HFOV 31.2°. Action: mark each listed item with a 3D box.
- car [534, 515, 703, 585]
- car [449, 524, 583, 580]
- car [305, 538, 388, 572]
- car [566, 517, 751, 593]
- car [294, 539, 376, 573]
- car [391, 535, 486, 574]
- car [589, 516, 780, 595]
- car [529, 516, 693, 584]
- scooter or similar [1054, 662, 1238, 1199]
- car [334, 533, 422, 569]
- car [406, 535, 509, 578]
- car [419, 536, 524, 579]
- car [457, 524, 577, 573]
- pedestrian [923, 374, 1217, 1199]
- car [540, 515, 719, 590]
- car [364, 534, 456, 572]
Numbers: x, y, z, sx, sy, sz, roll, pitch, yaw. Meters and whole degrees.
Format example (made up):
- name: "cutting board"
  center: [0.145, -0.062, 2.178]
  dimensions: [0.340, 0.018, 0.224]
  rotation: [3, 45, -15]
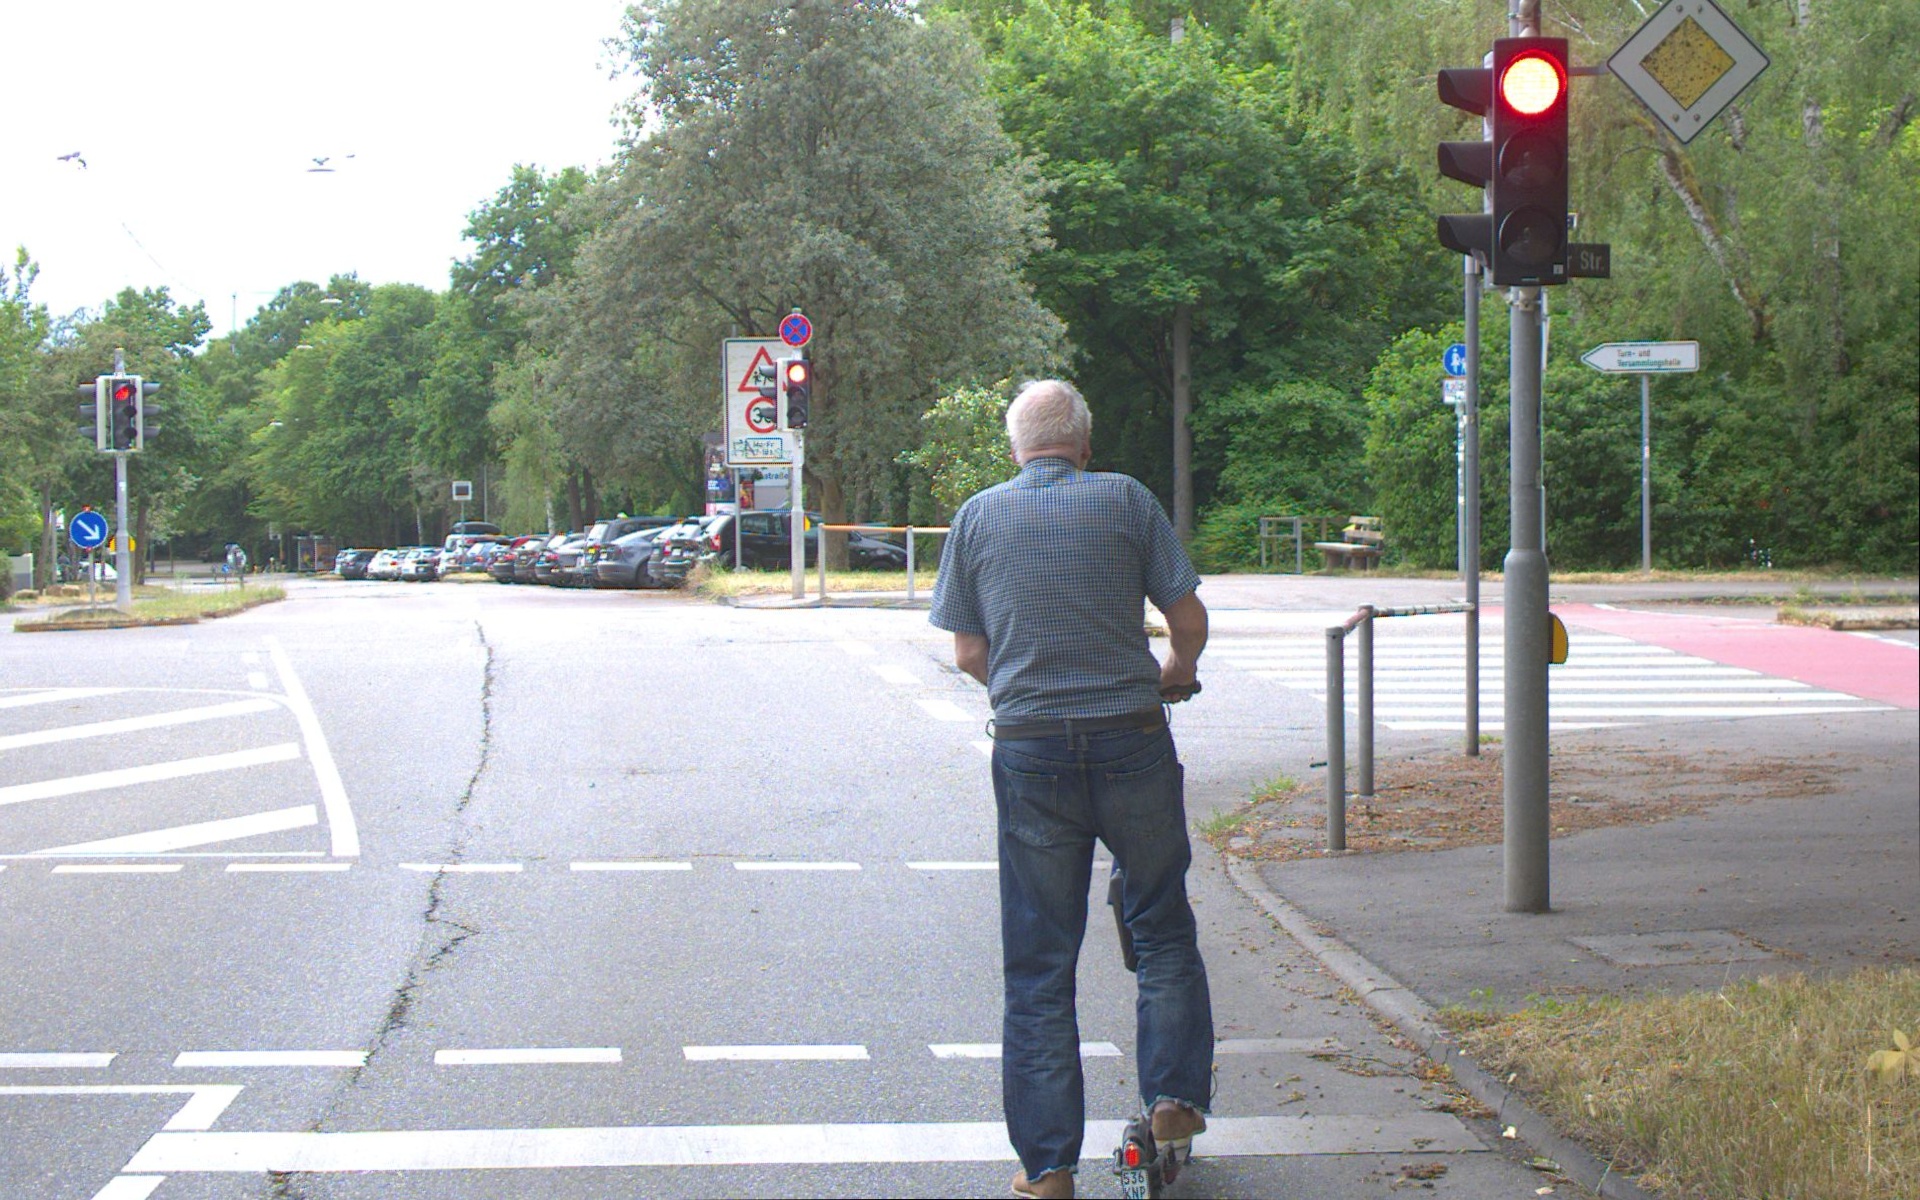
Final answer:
- name: "car"
  center: [-8.607, -1.267, 86.647]
  dimensions: [3.840, 1.605, 1.729]
  rotation: [-3, 2, -23]
- name: "car"
  center: [-14.063, -1.524, 108.922]
  dimensions: [3.840, 1.605, 1.729]
  rotation: [-3, 2, -23]
- name: "car"
  center: [-31.340, -2.315, 175.631]
  dimensions: [3.840, 1.605, 1.729]
  rotation: [-3, 2, -23]
- name: "car"
  center: [-6.958, -1.054, 79.300]
  dimensions: [3.840, 1.605, 1.729]
  rotation: [-3, 2, -23]
- name: "car"
  center: [-32.362, -2.287, 177.969]
  dimensions: [3.840, 1.605, 1.729]
  rotation: [-3, 2, -23]
- name: "car"
  center: [-23.385, -2.037, 154.068]
  dimensions: [3.840, 1.605, 1.729]
  rotation: [-3, 2, -23]
- name: "car"
  center: [-6.156, -1.002, 76.758]
  dimensions: [3.841, 1.605, 1.728]
  rotation: [-3, 2, -24]
- name: "car"
  center: [-9.048, -1.313, 89.059]
  dimensions: [3.840, 1.605, 1.729]
  rotation: [-3, 2, -23]
- name: "scooter or similar"
  center: [0.415, 0.748, 7.396]
  dimensions: [0.282, 1.174, 1.177]
  rotation: [-1, 1, 8]
- name: "car"
  center: [-28.073, -2.364, 165.835]
  dimensions: [3.840, 1.605, 1.729]
  rotation: [-3, 2, -23]
- name: "car"
  center: [-20.862, -1.811, 142.765]
  dimensions: [3.840, 1.605, 1.729]
  rotation: [-3, 2, -23]
- name: "car"
  center: [-19.757, -1.730, 139.090]
  dimensions: [3.840, 1.605, 1.729]
  rotation: [-3, 2, -23]
- name: "car"
  center: [-15.711, -1.837, 121.888]
  dimensions: [3.840, 1.605, 1.729]
  rotation: [-3, 2, -23]
- name: "pedestrian"
  center: [0.250, 0.422, 7.566]
  dimensions: [0.573, 1.807, 0.420]
  rotation: [-1, 1, 8]
- name: "car"
  center: [-7.820, -1.133, 81.334]
  dimensions: [3.840, 1.605, 1.729]
  rotation: [-3, 2, -23]
- name: "car"
  center: [-25.402, -2.195, 158.770]
  dimensions: [3.840, 1.605, 1.729]
  rotation: [-3, 2, -23]
